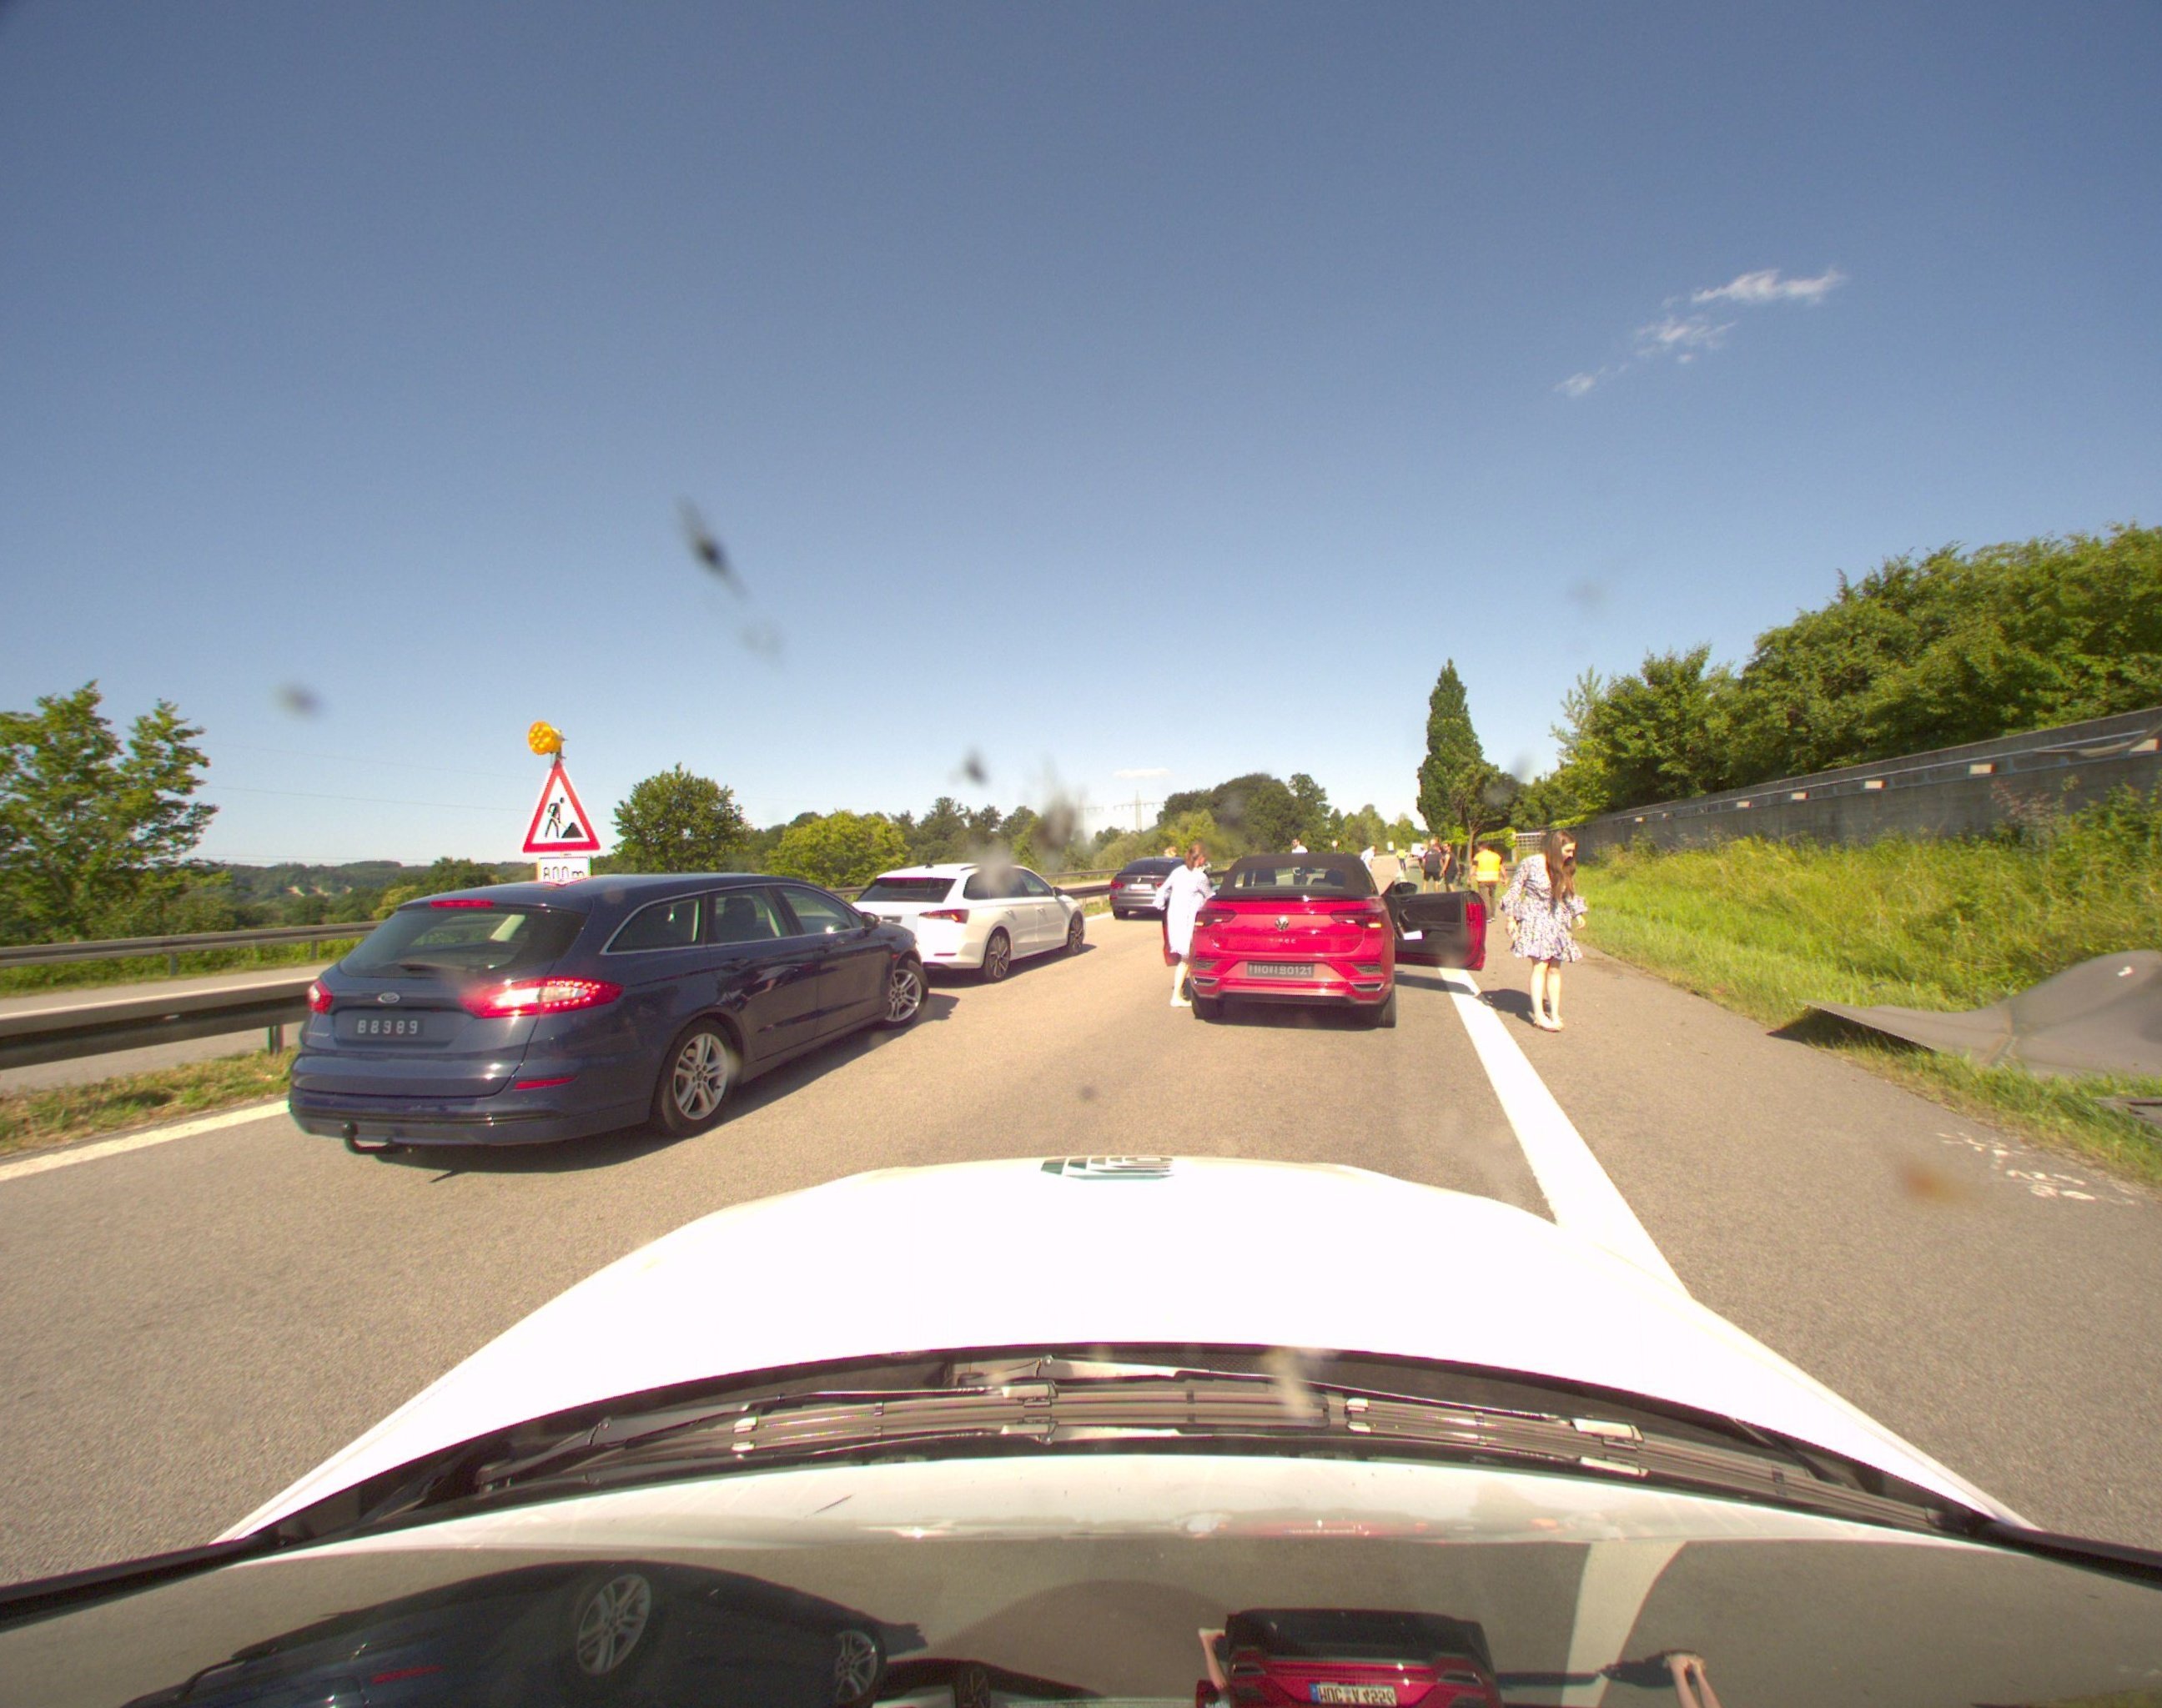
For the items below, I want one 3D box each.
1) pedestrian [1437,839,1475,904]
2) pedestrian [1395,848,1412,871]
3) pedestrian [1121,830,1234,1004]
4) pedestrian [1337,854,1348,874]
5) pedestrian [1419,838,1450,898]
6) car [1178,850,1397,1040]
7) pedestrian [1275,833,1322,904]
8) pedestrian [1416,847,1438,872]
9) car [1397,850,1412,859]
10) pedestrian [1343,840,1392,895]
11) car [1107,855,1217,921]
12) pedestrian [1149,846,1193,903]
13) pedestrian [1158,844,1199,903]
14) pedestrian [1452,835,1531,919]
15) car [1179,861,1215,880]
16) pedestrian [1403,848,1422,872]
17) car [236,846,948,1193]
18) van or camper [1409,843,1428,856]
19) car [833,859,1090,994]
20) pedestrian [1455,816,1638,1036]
[{"bbox_3d":[10.208,0.470,22.218,0.887,1.725,0.758,-1,-1,22],"label":"pedestrian"},{"bbox_3d":[23.854,0.432,60.230,1.046,1.689,1.023,-1,-1,27],"label":"pedestrian"},{"bbox_3d":[1.001,0.614,8.412,0.831,1.683,0.748,-3,-1,35],"label":"pedestrian"},{"bbox_3d":[21.733,0.832,67.643,0.784,1.689,0.797,-1,-1,25],"label":"pedestrian"},{"bbox_3d":[10.610,0.430,24.454,0.805,1.759,0.832,-1,-1,21],"label":"pedestrian"},{"bbox_3d":[2.372,0.712,8.627,1.718,1.487,4.231,-1,0,20],"label":"car"},{"bbox_3d":[6.116,0.405,22.996,1.099,1.912,1.260,-2,-1,9],"label":"pedestrian"},{"bbox_3d":[23.800,0.353,56.005,1.010,1.689,0.993,0,-1,-18],"label":"pedestrian"},{"bbox_3d":[61.781,0.087,155.557,1.715,1.487,4.237,-1,0,36],"label":"car"},{"bbox_3d":[9.679,0.450,27.515,1.095,1.789,1.097,0,-1,-30],"label":"pedestrian"},{"bbox_3d":[2.157,0.775,20.421,1.680,1.426,4.356,-1,0,20],"label":"car"},{"bbox_3d":[2.872,0.648,25.975,1.105,1.763,1.049,-3,-1,19],"label":"pedestrian"},{"bbox_3d":[3.219,0.647,26.917,1.056,1.883,1.099,-2,-1,19],"label":"pedestrian"},{"bbox_3d":[8.543,0.460,17.018,0.954,1.654,1.278,-2,-1,0],"label":"pedestrian"},{"bbox_3d":[9.091,1.272,63.762,1.679,1.426,4.329,-1,0,23],"label":"car"},{"bbox_3d":[23.296,0.416,57.269,1.103,1.689,0.979,-1,-1,28],"label":"pedestrian"},{"bbox_3d":[-2.646,0.751,5.888,1.776,1.493,4.507,-2,-1,11],"label":"car"},{"bbox_3d":[62.005,-0.798,149.539,1.974,2.316,4.498,-1,-1,37],"label":"van or camper"},{"bbox_3d":[-1.381,0.825,11.270,1.680,1.441,4.231,-1,0,20],"label":"car"},{"bbox_3d":[3.989,0.562,6.992,1.114,1.695,0.898,-3,-1,44],"label":"pedestrian"}]
